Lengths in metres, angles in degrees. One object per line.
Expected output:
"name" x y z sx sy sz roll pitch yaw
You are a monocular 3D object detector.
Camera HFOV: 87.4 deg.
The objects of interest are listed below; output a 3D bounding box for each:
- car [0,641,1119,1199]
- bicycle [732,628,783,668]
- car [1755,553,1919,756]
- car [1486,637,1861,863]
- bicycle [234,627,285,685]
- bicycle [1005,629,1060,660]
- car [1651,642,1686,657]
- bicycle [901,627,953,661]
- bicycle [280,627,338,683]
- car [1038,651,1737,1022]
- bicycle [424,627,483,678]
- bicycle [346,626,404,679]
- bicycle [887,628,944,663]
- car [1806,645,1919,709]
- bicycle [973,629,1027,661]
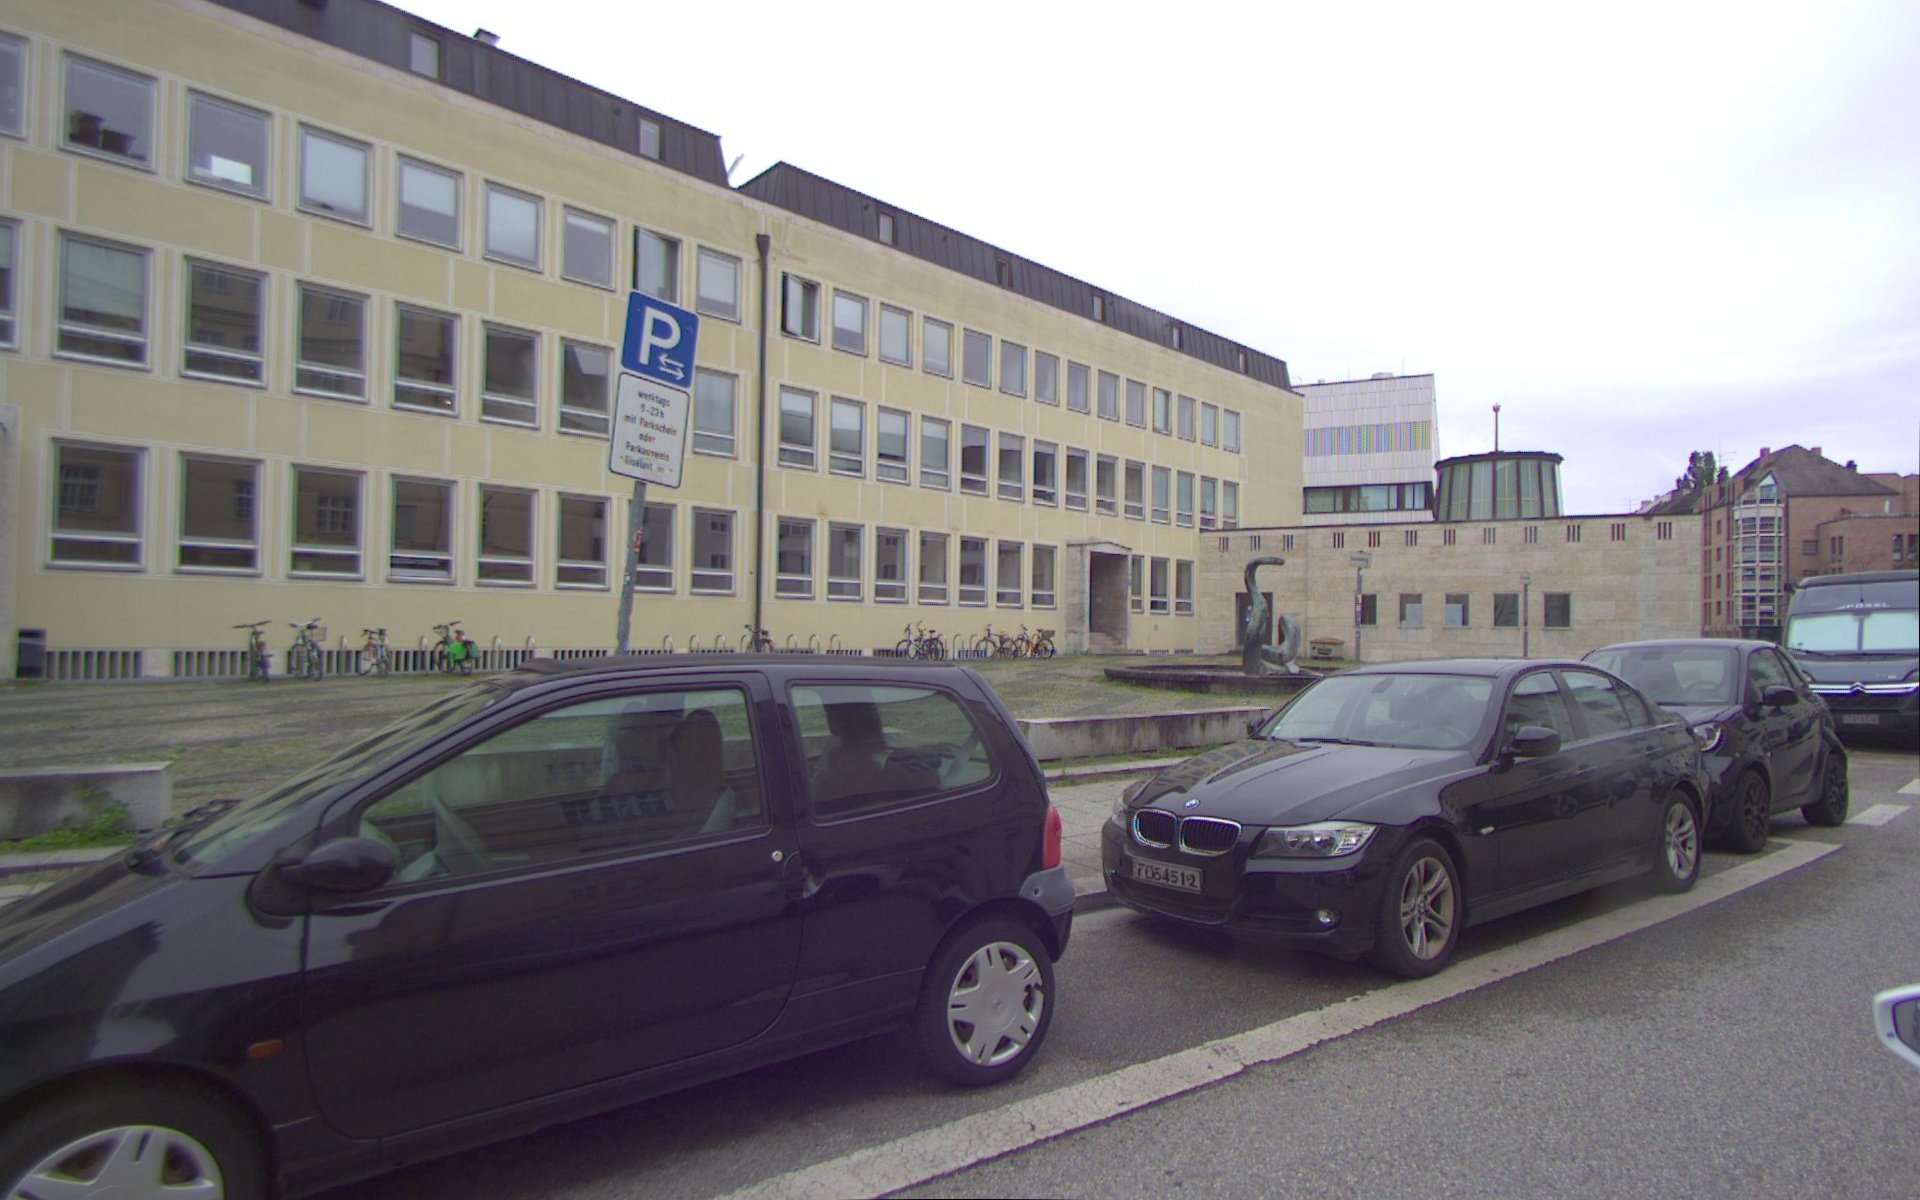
"car" -1.255 0.887 3.327 3.277 1.472 1.647 2 -3 -33
"bicycle" -5.586 1.295 27.617 0.619 1.028 1.933 1 -1 -36
"car" 14.376 0.809 15.793 5.977 2.676 2.143 2 -3 -44
"car" 5.958 1.087 8.343 2.949 1.521 1.659 2 -3 -36
"bicycle" -13.313 1.039 19.074 0.620 1.028 1.931 2 -1 -39
"bicycle" 2.509 1.531 34.866 1.923 1.028 0.623 0 -1 40
"car" 74.878 5.213 106.219 1.777 1.492 4.118 1 -1 18
"bicycle" -1.072 1.408 32.156 0.620 1.028 1.931 2 -1 -39
"bicycle" -12.816 1.053 19.743 0.621 1.028 1.928 2 -1 -43
"car" 2.715 1.020 5.941 4.412 1.424 1.787 2 -4 -36
"bicycle" -10.954 1.120 21.686 0.621 1.028 1.928 2 -1 -43
"bicycle" -12.153 1.074 20.833 0.621 1.028 1.928 2 -1 -43
"bicycle" -1.404 1.410 31.291 1.926 1.028 0.622 0 -1 44
"car" 23.430 1.863 24.395 4.003 1.500 1.687 -2 -5 10
"bicycle" 1.352 1.505 34.058 0.621 1.028 1.928 2 -1 -43
